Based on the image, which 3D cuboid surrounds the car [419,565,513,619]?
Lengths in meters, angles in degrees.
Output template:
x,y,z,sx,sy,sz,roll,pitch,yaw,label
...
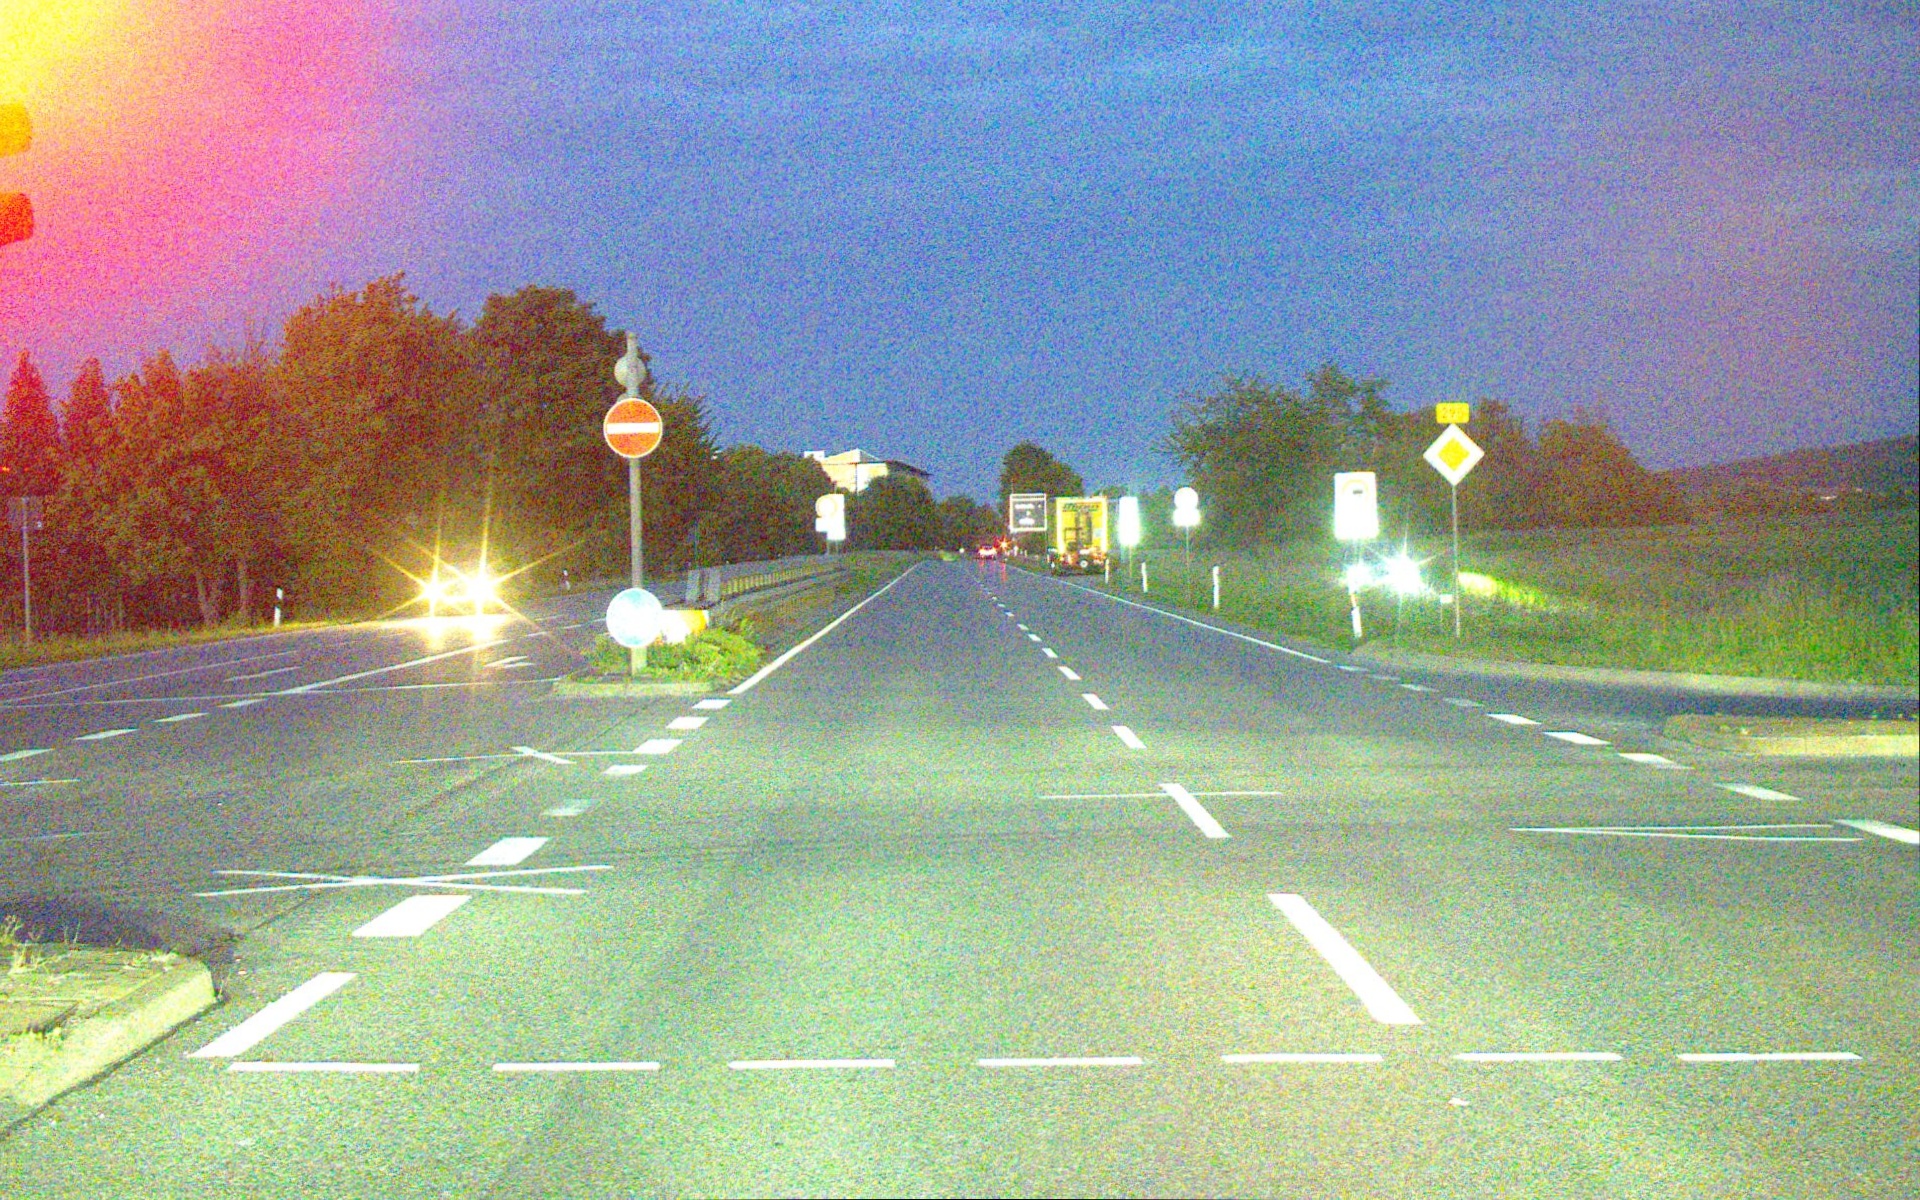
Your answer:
x,y,z,sx,sy,sz,roll,pitch,yaw,label
-13.464,-0.240,93.882,1.993,1.382,4.000,-1,1,-1,car
